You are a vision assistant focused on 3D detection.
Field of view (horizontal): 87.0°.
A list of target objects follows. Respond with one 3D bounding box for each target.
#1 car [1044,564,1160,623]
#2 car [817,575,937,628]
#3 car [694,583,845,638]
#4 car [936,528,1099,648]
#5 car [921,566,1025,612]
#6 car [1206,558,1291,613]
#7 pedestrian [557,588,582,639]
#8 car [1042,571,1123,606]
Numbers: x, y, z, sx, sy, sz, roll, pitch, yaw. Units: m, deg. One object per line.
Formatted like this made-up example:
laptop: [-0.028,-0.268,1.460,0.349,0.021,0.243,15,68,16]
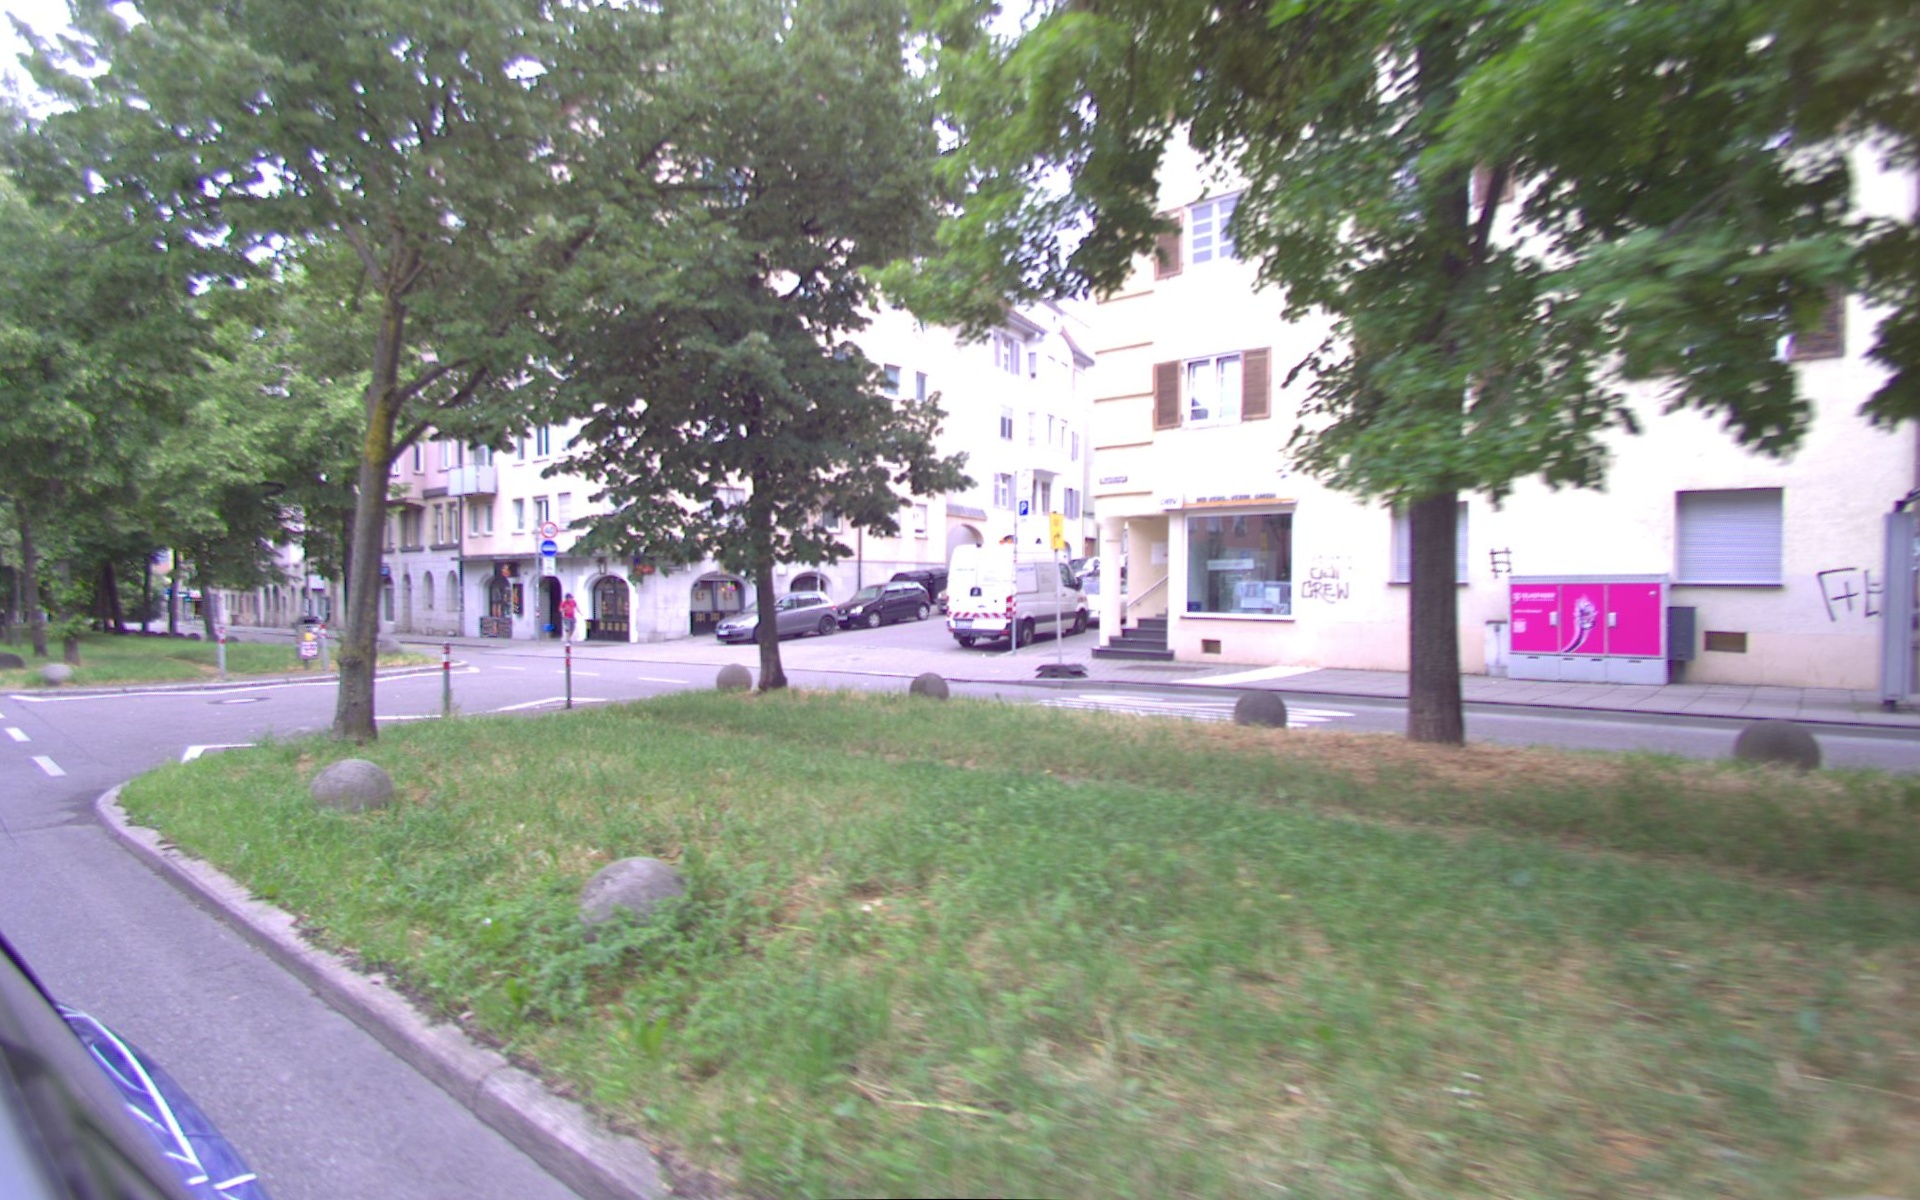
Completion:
car: [4.553,-0.242,31.808,1.992,1.648,4.725,-1,2,29]
car: [-2.853,0.023,35.421,1.997,1.430,3.951,-1,5,38]
car: [-5.955,0.305,31.988,2.048,1.430,4.241,-2,2,44]
car: [1.693,-0.425,27.176,2.169,2.756,5.139,-1,5,30]
car: [0.556,-0.463,39.332,1.902,1.430,3.991,-1,4,40]
car: [10.370,-0.543,36.210,1.802,1.837,3.955,-1,1,33]
pedestrian: [-13.200,0.453,34.249,0.701,1.679,0.526,-1,0,44]
car: [5.756,-0.535,47.204,1.997,1.453,3.951,-1,1,37]
